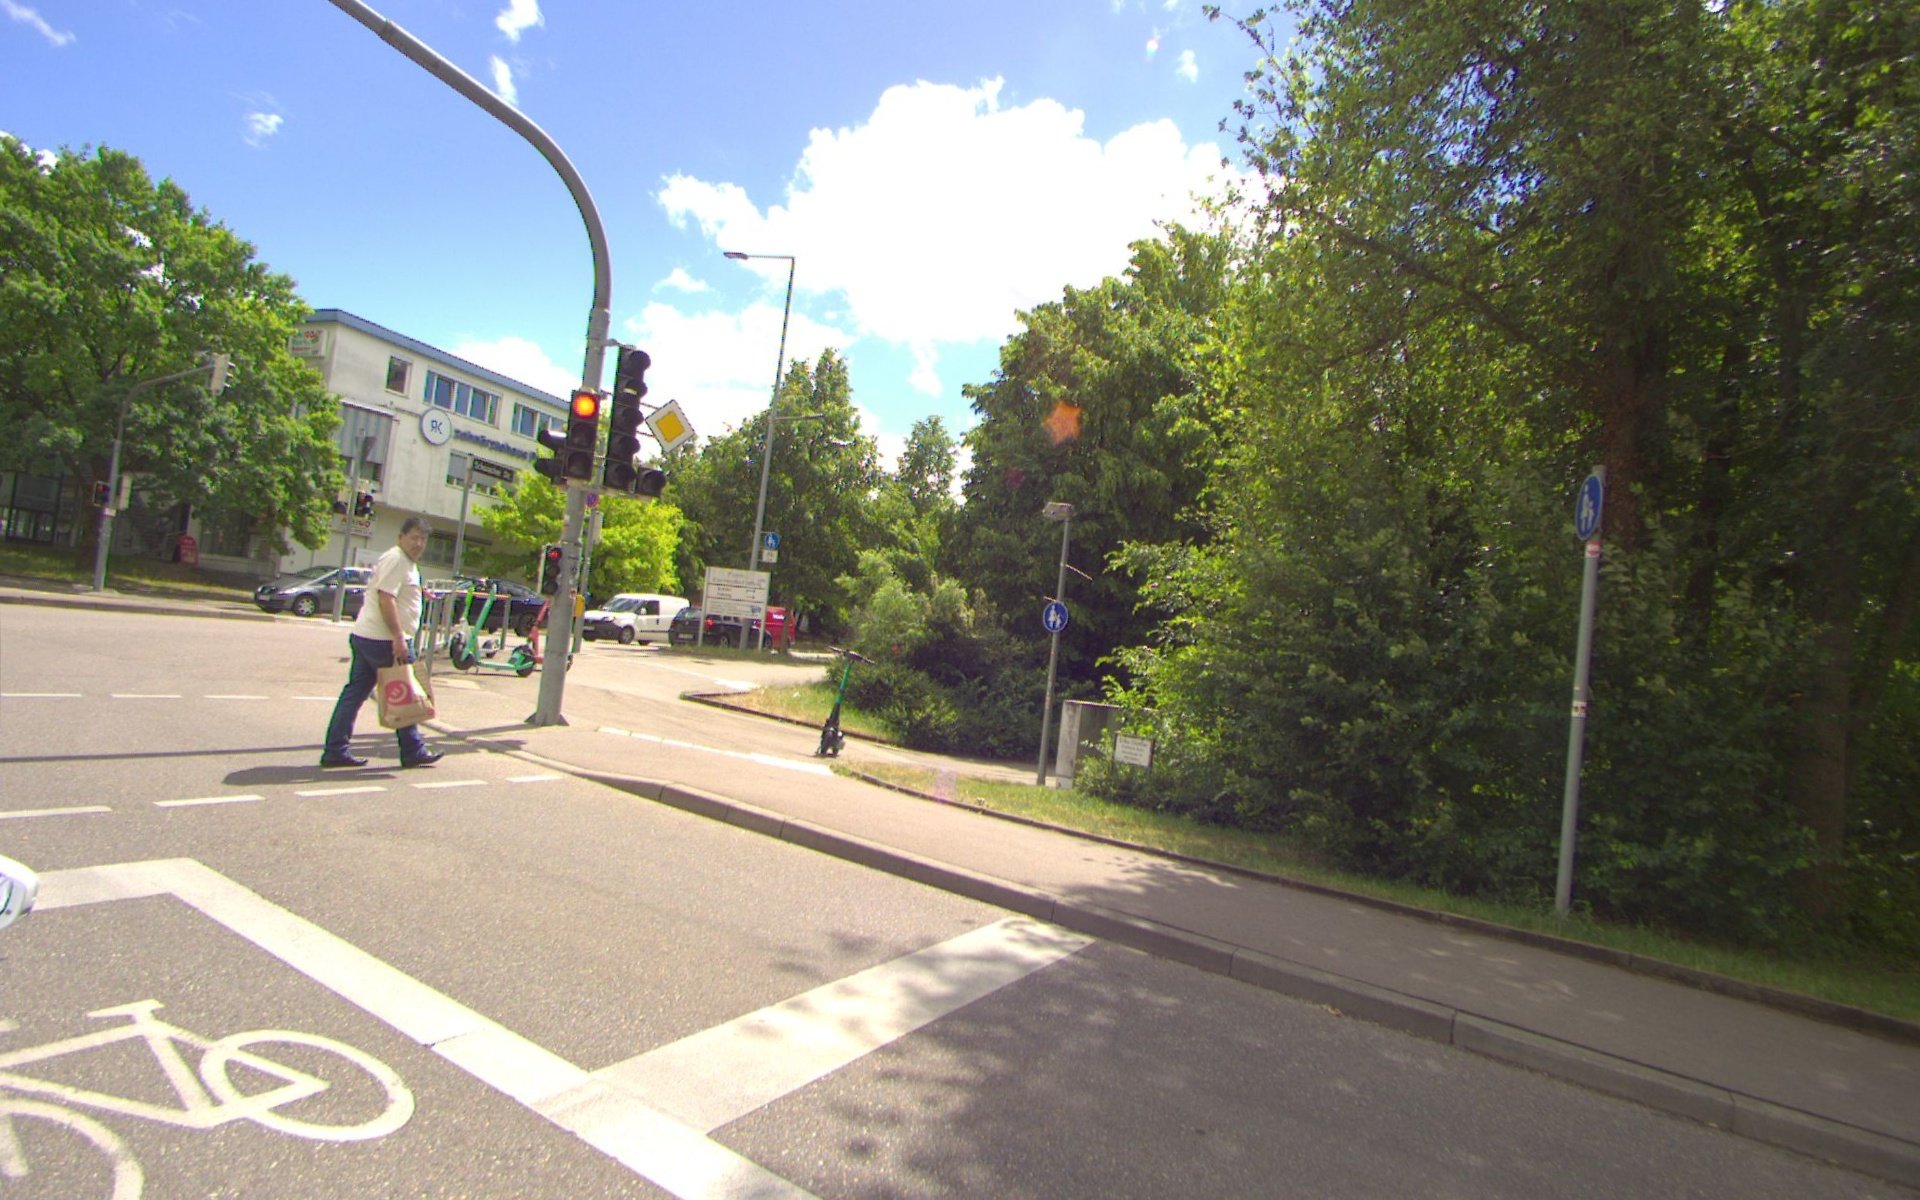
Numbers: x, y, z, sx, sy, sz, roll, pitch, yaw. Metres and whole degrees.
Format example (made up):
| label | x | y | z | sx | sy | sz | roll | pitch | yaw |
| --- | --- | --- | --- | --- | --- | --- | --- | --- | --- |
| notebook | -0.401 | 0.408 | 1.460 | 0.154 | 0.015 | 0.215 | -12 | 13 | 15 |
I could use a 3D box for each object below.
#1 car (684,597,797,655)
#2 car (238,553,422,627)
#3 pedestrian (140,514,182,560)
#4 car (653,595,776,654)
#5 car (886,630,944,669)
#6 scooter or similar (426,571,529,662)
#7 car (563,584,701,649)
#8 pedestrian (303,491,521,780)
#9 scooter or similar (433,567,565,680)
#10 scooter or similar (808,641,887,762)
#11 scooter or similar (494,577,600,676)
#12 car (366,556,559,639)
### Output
| label | x | y | z | sx | sy | sz | roll | pitch | yaw |
| --- | --- | --- | --- | --- | --- | --- | --- | --- | --- |
| car | -8.814 | 1.120 | 40.950 | 1.964 | 1.885 | 4.822 | 5 | -3 | 22 |
| car | -18.093 | -0.240 | 29.083 | 1.965 | 1.573 | 3.919 | 7 | -2 | 27 |
| pedestrian | -31.796 | -2.506 | 40.059 | 0.890 | 1.662 | 0.771 | 7 | -1 | 18 |
| car | -7.438 | 0.803 | 30.923 | 1.725 | 1.504 | 4.003 | 4 | -2 | 19 |
| car | -2.029 | 2.285 | 45.829 | 1.518 | 1.458 | 3.200 | 7 | -2 | 17 |
| scooter or similar | -6.998 | 0.275 | 14.660 | 0.533 | 1.168 | 1.362 | 9 | -3 | 7 |
| car | -11.367 | 0.638 | 35.236 | 1.963 | 1.737 | 4.576 | 7 | -2 | 22 |
| pedestrian | -3.781 | 0.250 | 6.991 | 0.729 | 1.829 | 0.871 | 7 | -1 | 28 |
| scooter or similar | -5.929 | 0.326 | 13.000 | 0.455 | 1.292 | 1.344 | 8 | -1 | 38 |
| scooter or similar | -1.390 | 1.242 | 12.264 | 0.706 | 1.287 | 1.243 | 10 | -7 | -8 |
| scooter or similar | -5.984 | 0.407 | 14.633 | 0.547 | 1.254 | 1.231 | 8 | -3 | 23 |
| car | -13.994 | 0.005 | 28.613 | 1.964 | 1.737 | 4.574 | 7 | -2 | 25 |
